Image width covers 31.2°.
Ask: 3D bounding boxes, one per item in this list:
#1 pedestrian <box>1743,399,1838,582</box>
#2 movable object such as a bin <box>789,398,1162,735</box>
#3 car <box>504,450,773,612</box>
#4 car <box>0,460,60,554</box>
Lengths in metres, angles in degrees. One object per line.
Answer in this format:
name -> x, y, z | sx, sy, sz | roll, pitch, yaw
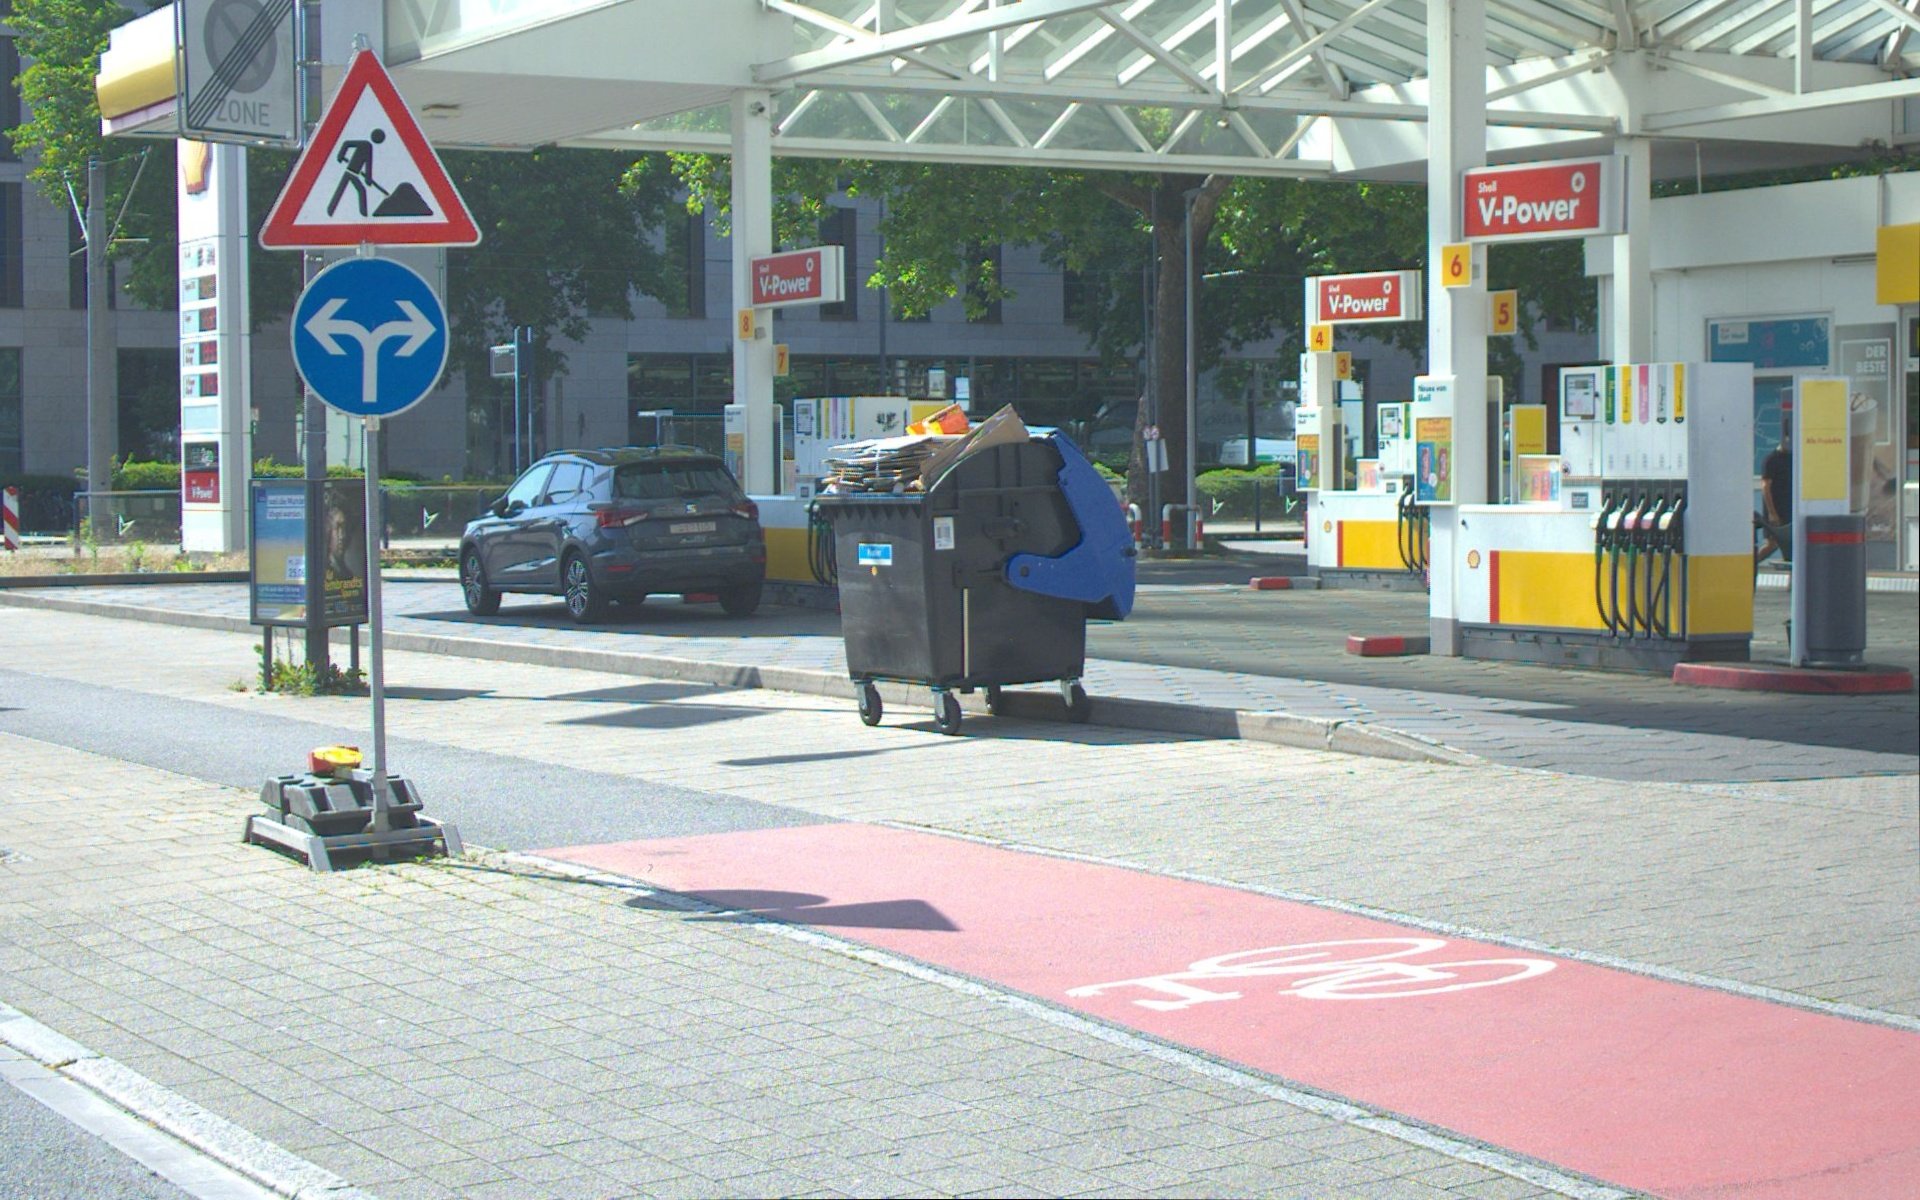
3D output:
pedestrian -> 8.311, -1.097, 34.413 | 0.673, 1.815, 0.631 | -1, 2, -23
movable object such as a bin -> 0.070, -0.200, 17.633 | 1.307, 1.586, 1.396 | -5, 4, -32
car -> -3.023, -0.663, 31.717 | 1.649, 1.393, 3.643 | -1, 2, -19
car -> -17.539, -1.561, 58.401 | 3.987, 1.576, 1.844 | -2, 3, -30
